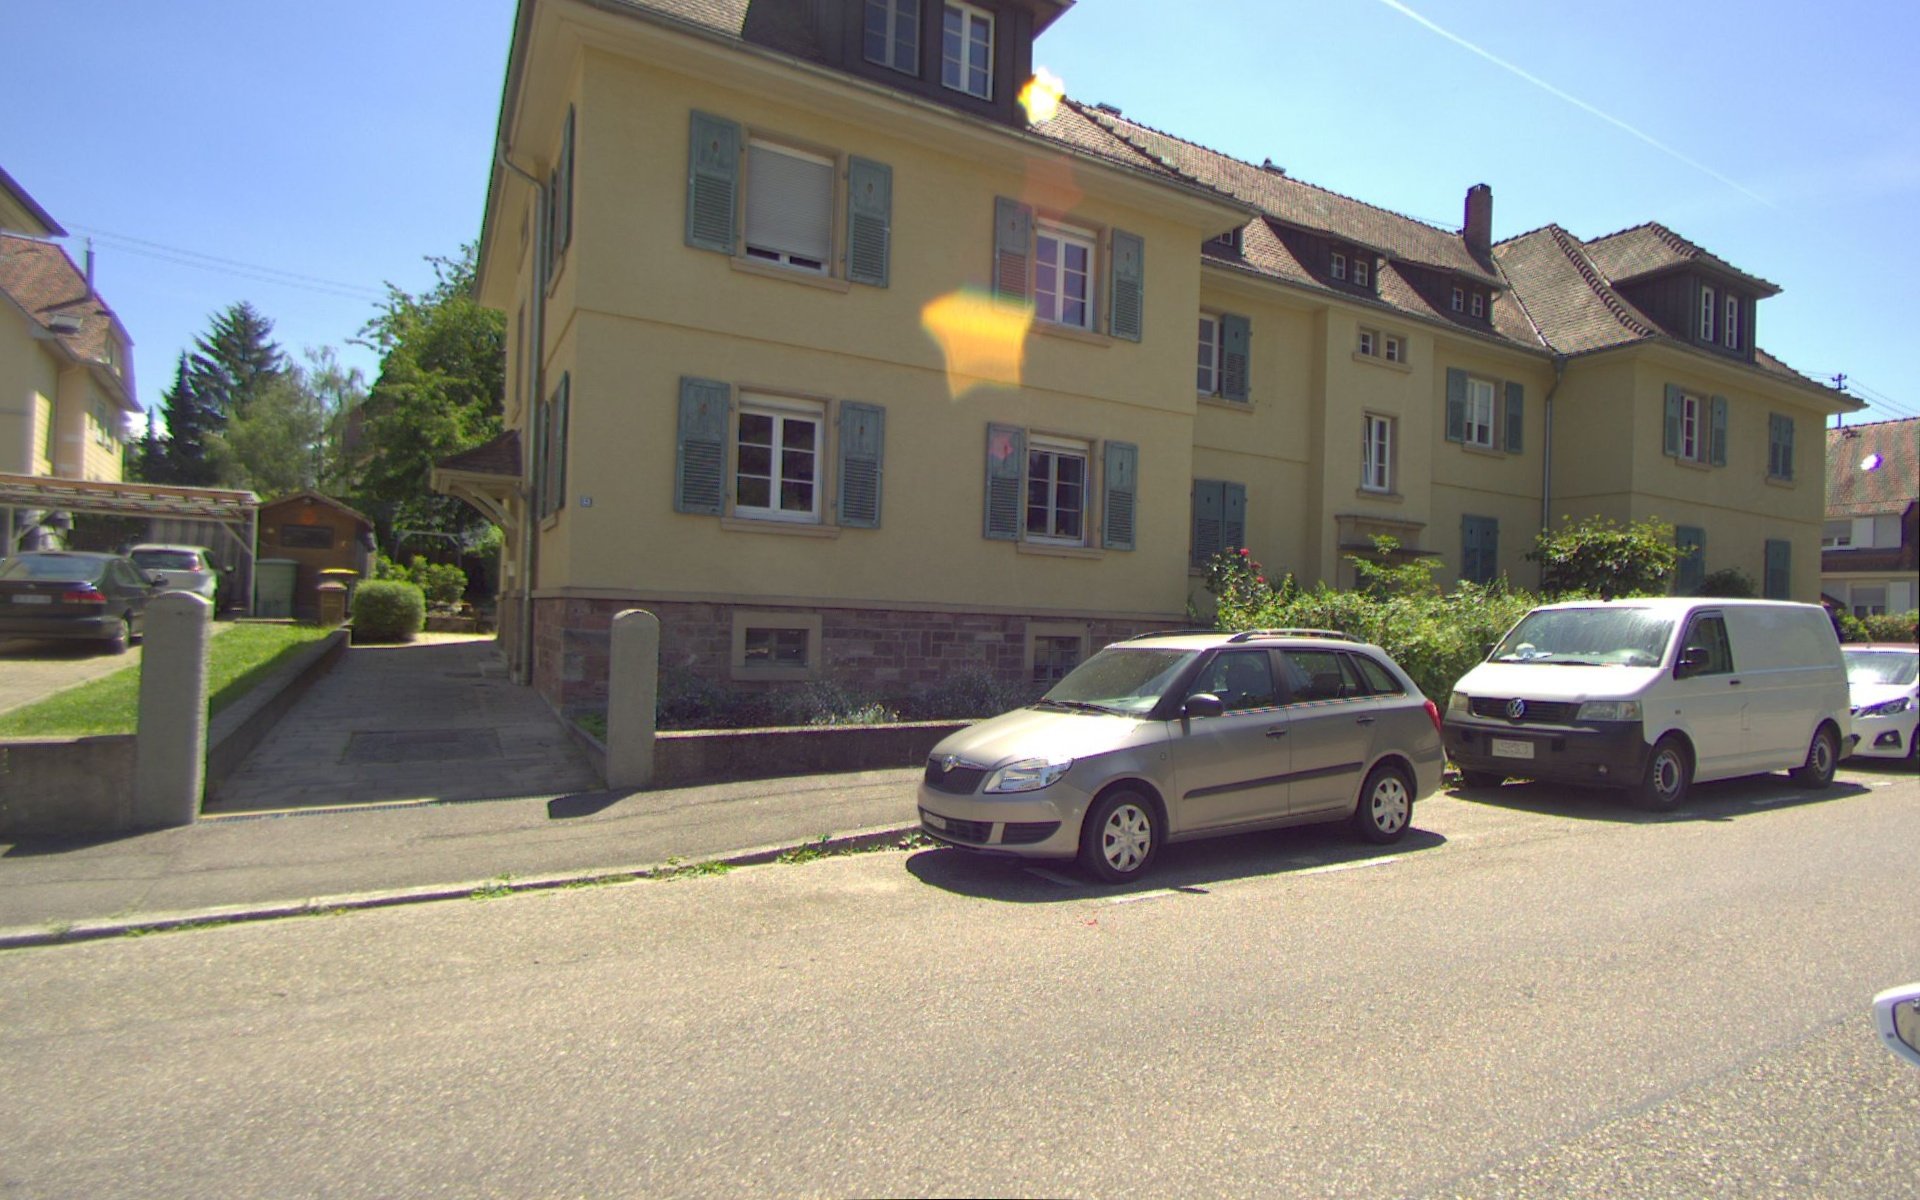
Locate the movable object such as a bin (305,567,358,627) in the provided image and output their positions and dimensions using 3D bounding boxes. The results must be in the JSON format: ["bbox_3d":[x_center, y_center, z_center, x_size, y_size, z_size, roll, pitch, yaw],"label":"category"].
[{"bbox_3d":[-13.488,-0.051,21.578,0.822,1.247,0.841,2,-1,-26],"label":"movable object such as a bin"}]

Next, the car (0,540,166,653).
[{"bbox_3d":[-13.192,-0.080,14.929,1.646,1.483,3.677,2,1,-31],"label":"car"}]

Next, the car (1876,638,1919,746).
[{"bbox_3d":[15.683,1.362,15.005,4.412,1.512,1.658,2,-1,-29],"label":"car"}]

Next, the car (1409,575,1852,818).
[{"bbox_3d":[6.864,0.892,10.187,4.570,1.989,1.870,2,-3,-30],"label":"car"}]

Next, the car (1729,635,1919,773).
[{"bbox_3d":[11.664,1.239,12.869,3.436,1.512,1.659,2,-1,-29],"label":"car"}]

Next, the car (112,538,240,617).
[{"bbox_3d":[-16.438,-0.451,21.216,1.646,1.483,3.576,2,0,-31],"label":"car"}]

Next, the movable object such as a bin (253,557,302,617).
[{"bbox_3d":[-14.747,-0.272,21.720,0.712,1.247,0.775,2,-1,-25],"label":"movable object such as a bin"}]

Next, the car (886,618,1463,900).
[{"bbox_3d":[1.628,0.965,7.279,4.015,1.545,1.679,2,-3,-30],"label":"car"}]

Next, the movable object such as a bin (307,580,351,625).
[{"bbox_3d":[-12.751,0.058,20.310,0.660,0.875,0.618,2,0,-26],"label":"movable object such as a bin"}]
